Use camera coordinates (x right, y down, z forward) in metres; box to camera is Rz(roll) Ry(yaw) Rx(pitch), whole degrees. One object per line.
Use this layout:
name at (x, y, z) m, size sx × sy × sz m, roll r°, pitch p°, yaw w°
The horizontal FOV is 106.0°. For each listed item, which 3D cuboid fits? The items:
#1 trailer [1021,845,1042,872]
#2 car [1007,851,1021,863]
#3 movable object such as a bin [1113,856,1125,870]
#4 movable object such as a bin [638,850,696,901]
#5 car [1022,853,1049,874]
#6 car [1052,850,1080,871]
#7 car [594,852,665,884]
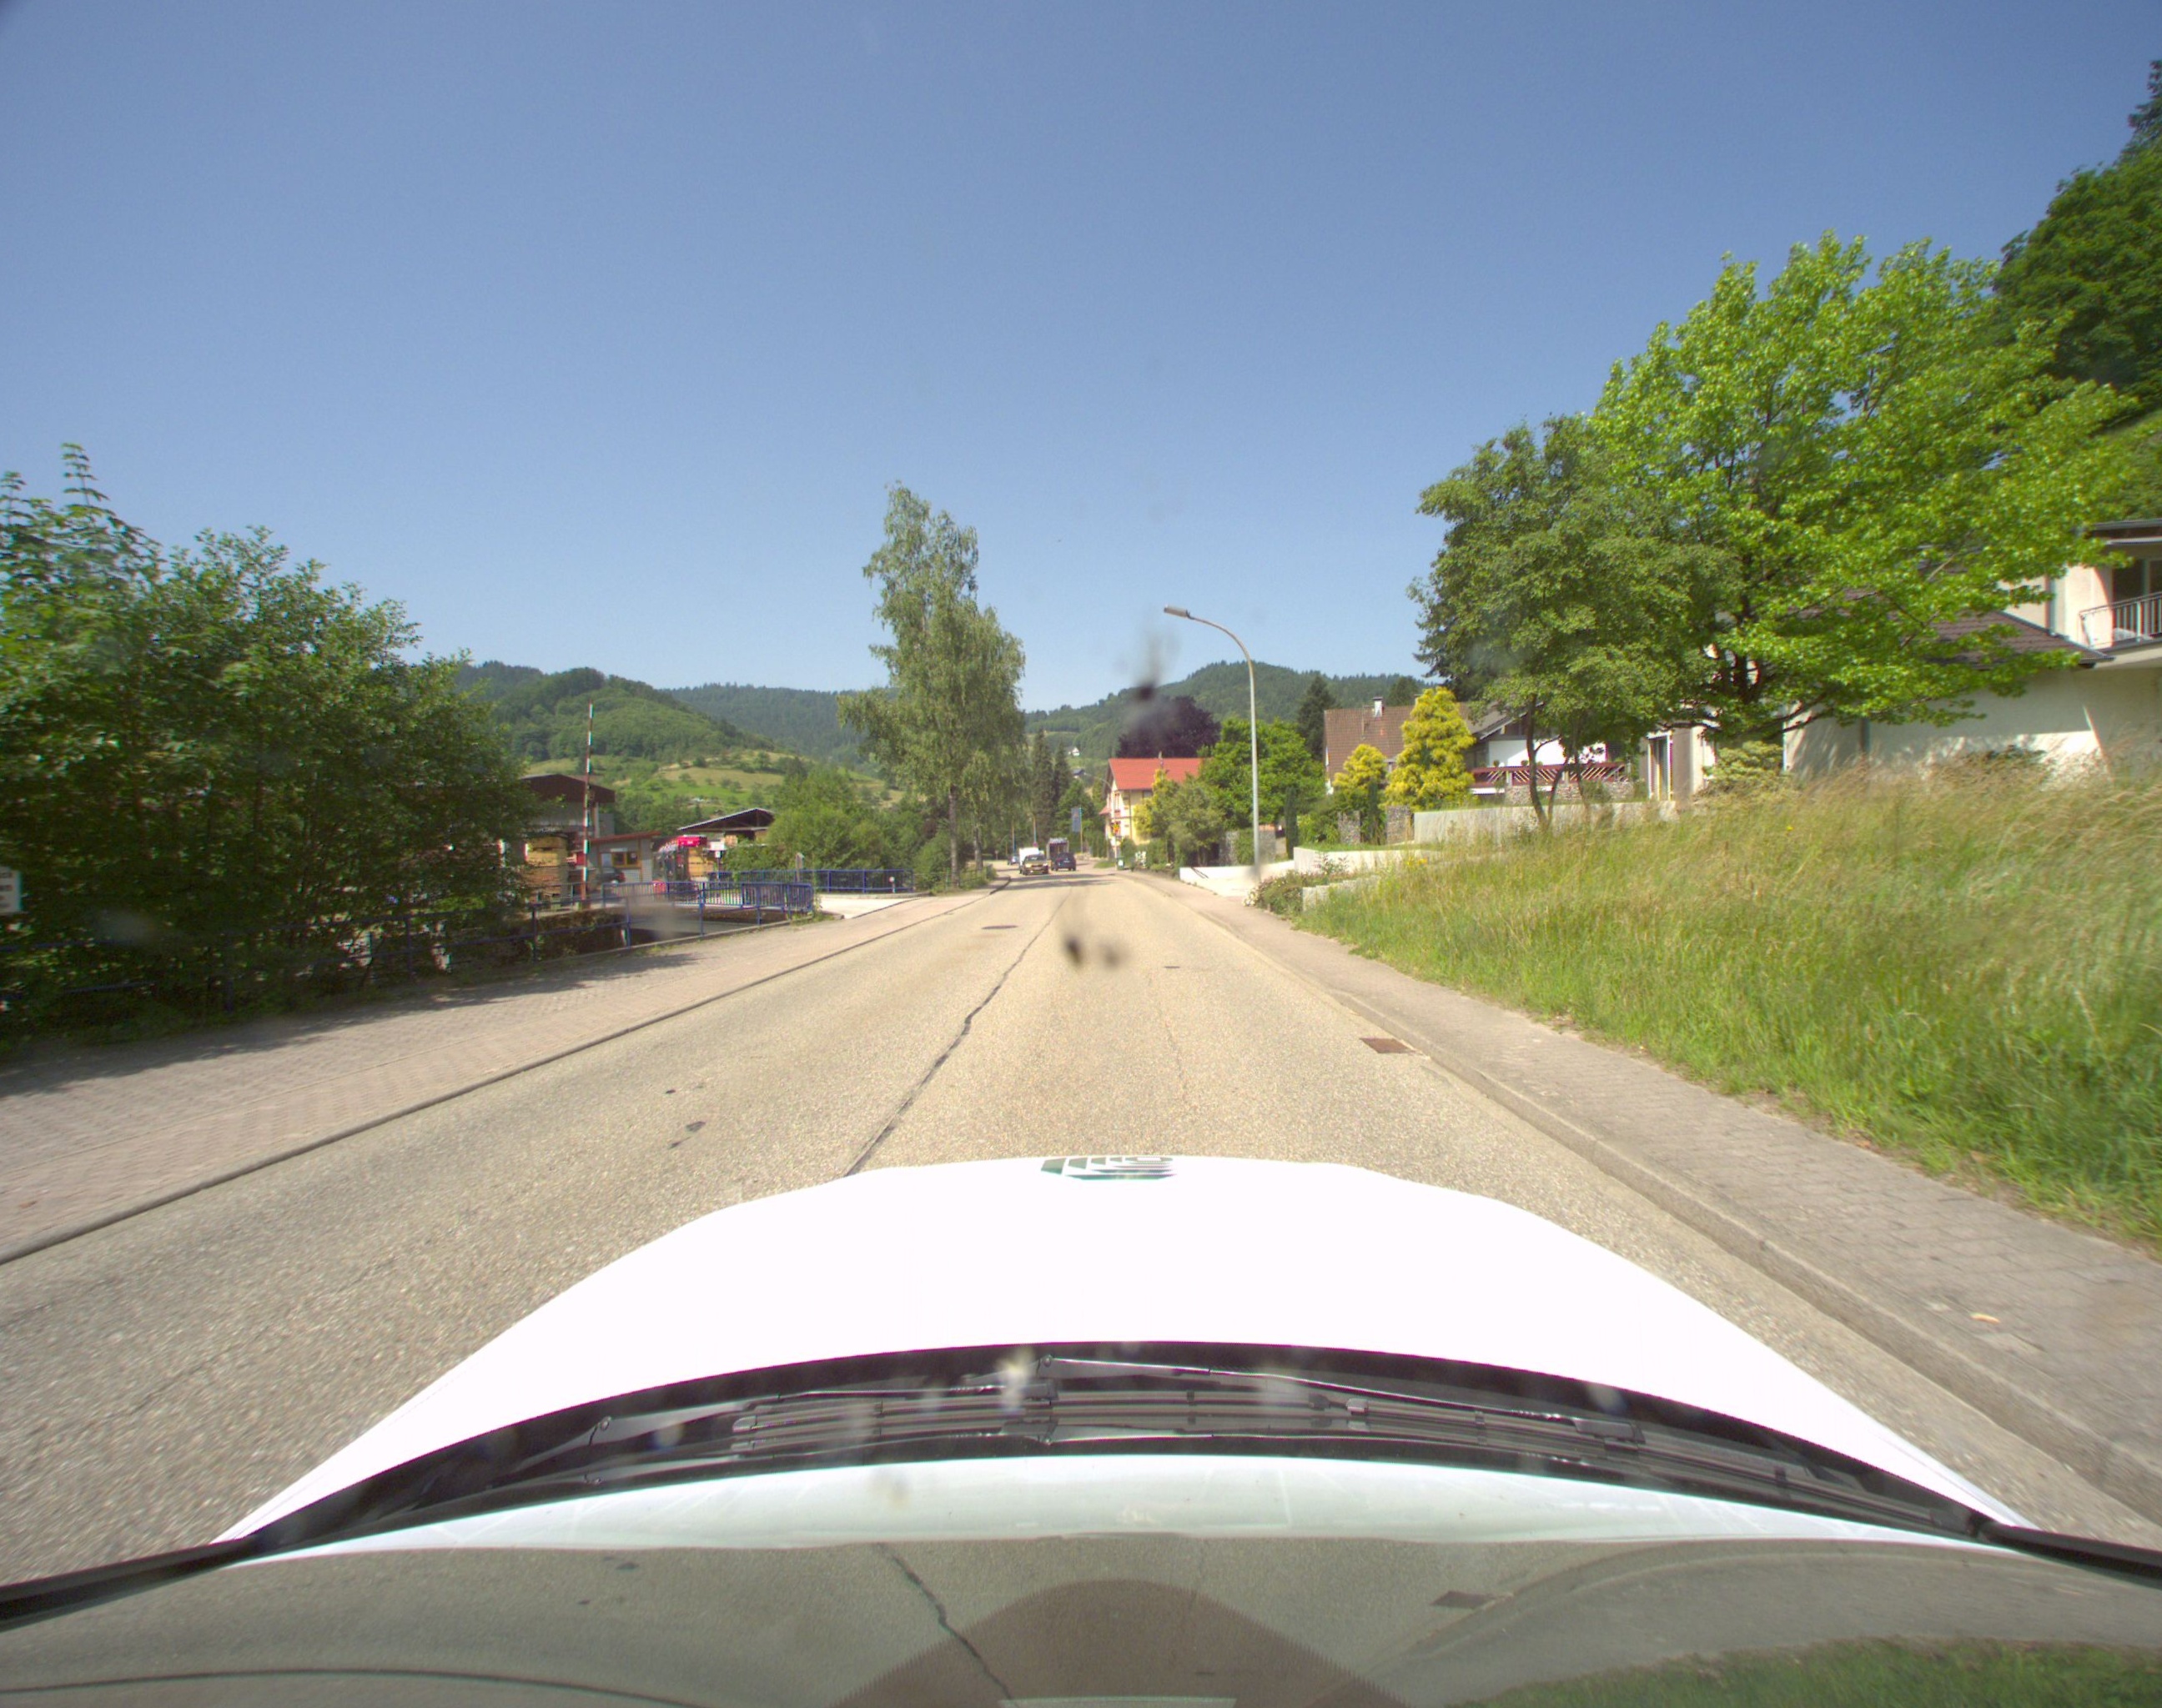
trailer at (-4.010, 0.384, 66.758) m, size 1.462 × 2.077 × 3.669 m, roll -3°, pitch 0°, yaw -1°
car at (-8.527, 0.395, 103.440) m, size 1.627 × 1.422 × 3.391 m, roll -1°, pitch 0°, yaw -6°
movable object such as a bin at (2.907, 0.679, 62.292) m, size 0.808 × 1.042 × 0.577 m, roll -3°, pitch 0°, yaw -7°
movable object such as a bin at (-17.502, 0.907, 34.450) m, size 2.099 × 2.072 × 1.143 m, roll -3°, pitch 0°, yaw 29°
car at (-3.431, 0.700, 61.817) m, size 1.808 × 1.500 × 4.148 m, roll -3°, pitch 0°, yaw -1°
car at (-1.312, 0.597, 71.091) m, size 1.919 × 1.698 × 3.776 m, roll -3°, pitch 0°, yaw -9°
car at (-32.969, 1.012, 59.596) m, size 1.974 × 2.013 × 4.026 m, roll -3°, pitch 0°, yaw 40°
